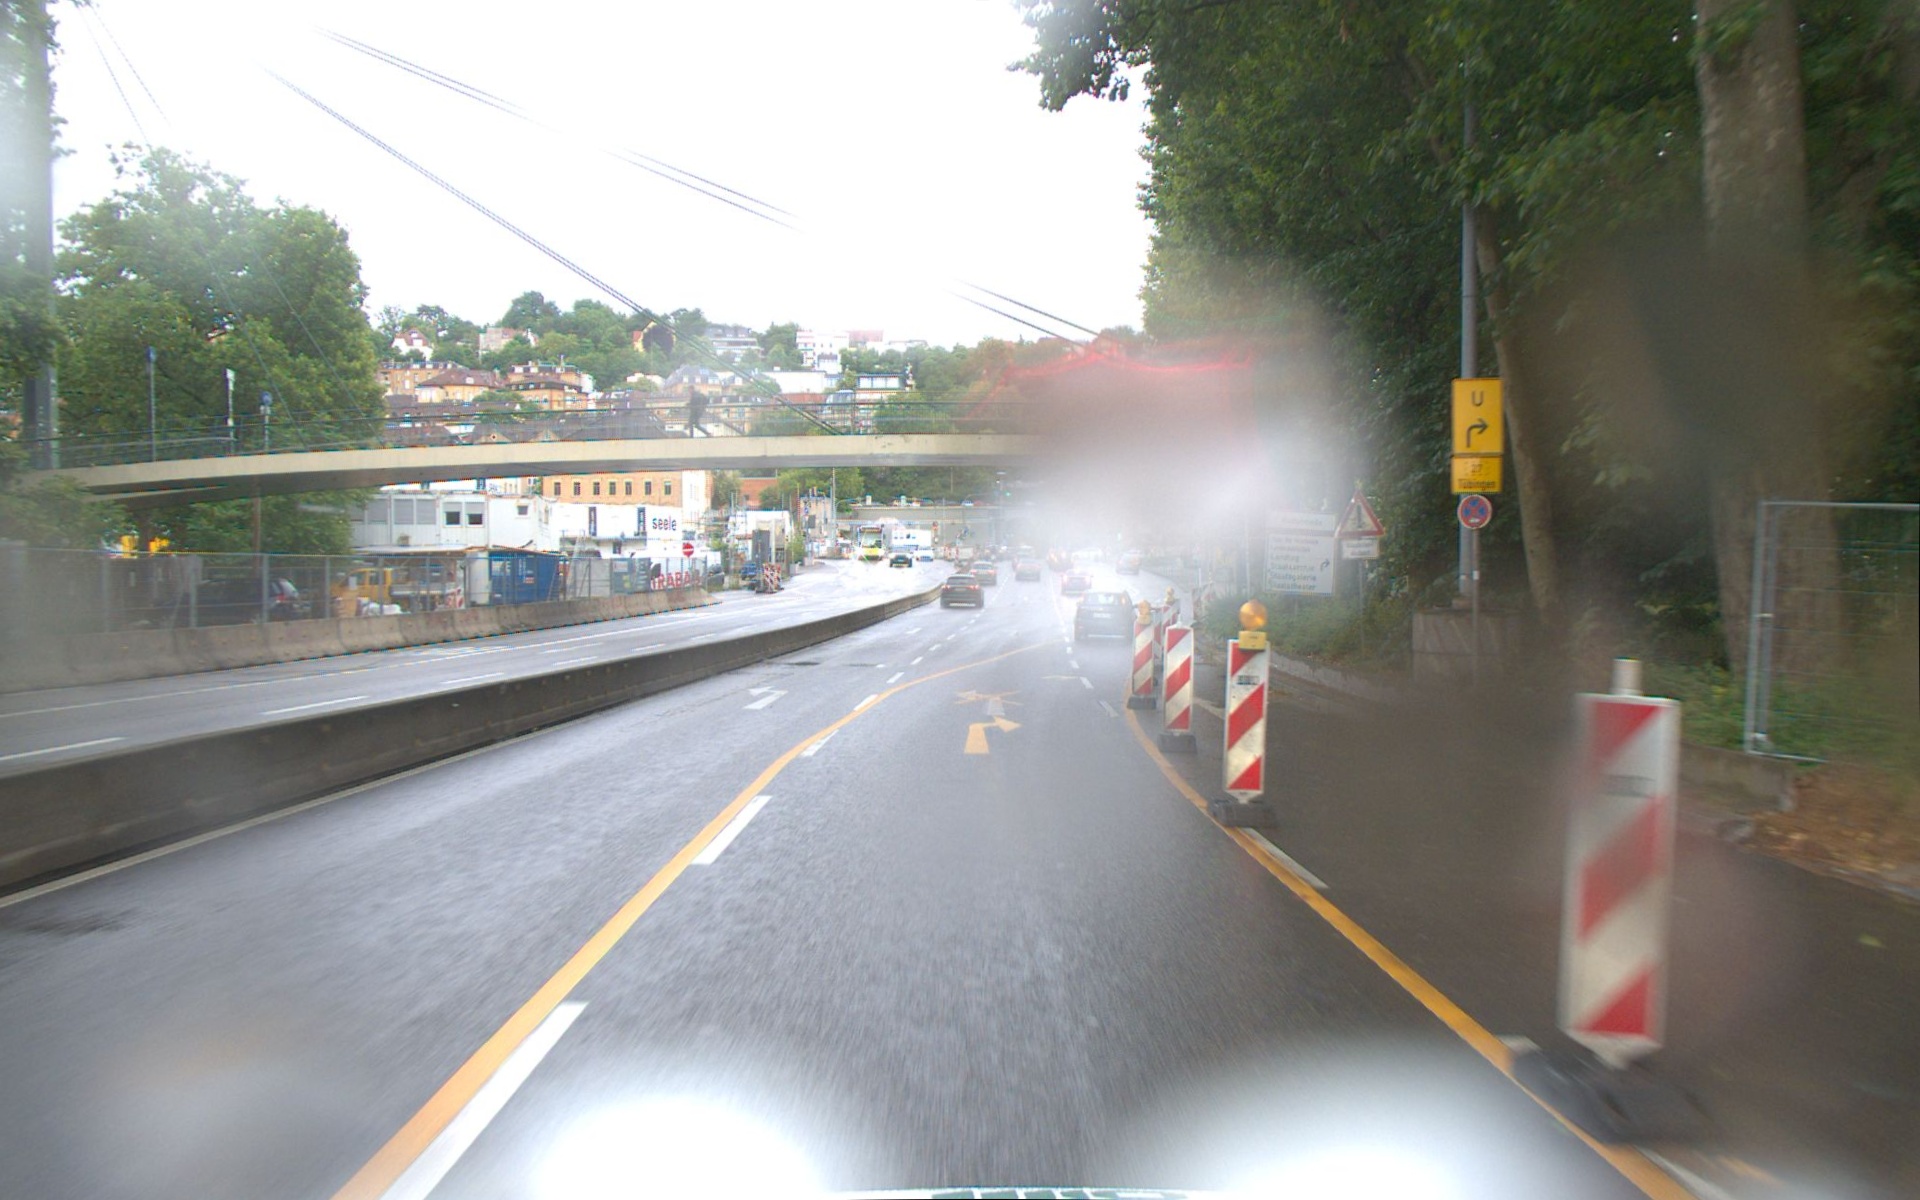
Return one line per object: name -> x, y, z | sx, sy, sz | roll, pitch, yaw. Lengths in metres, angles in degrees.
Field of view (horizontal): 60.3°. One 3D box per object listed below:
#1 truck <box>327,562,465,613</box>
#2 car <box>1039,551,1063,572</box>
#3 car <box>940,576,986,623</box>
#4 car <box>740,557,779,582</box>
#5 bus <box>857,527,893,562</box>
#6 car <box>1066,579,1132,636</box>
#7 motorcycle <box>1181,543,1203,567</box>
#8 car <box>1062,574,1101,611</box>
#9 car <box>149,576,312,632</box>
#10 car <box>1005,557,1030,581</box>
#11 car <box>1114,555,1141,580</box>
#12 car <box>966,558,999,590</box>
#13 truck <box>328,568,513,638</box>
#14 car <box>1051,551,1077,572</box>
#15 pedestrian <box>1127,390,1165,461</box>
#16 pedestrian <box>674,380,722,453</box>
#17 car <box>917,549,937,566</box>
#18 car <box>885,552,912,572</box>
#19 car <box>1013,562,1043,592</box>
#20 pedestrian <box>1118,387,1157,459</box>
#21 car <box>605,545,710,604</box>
truck -> -24.044, -0.548, 70.635 | 5.142, 2.049, 2.163 | -1, 1, -3
car -> 8.155, -3.414, 148.383 | 1.953, 1.728, 4.000 | -1, 0, 0
car -> 0.161, -0.015, 74.985 | 1.975, 2.049, 4.001 | -1, 0, 2
car -> -14.174, -2.187, 117.134 | 1.951, 1.650, 4.004 | 0, 2, 5
bus -> -8.141, -5.320, 159.845 | 2.748, 3.240, 8.810 | -1, 1, 2
car -> 3.996, 0.198, 47.616 | 1.774, 1.553, 4.002 | -1, 0, 4
motorcycle -> 20.984, -4.085, 149.710 | 1.757, 2.048, 3.816 | 0, 2, 5
car -> 7.127, -0.422, 97.385 | 2.061, 2.086, 4.001 | -1, 0, 2
car -> -23.242, 0.116, 52.844 | 4.339, 1.656, 1.956 | -1, 0, -7
car -> 4.832, -2.607, 140.029 | 1.953, 1.902, 4.000 | -1, 0, 0
car -> 14.064, -2.734, 139.162 | 1.952, 2.048, 4.001 | 0, 1, 1
car -> 1.516, -1.710, 110.730 | 1.951, 2.049, 4.002 | -1, 0, 4
truck -> -20.305, 0.099, 62.547 | 6.155, 2.495, 2.691 | -1, 0, -6
car -> 8.916, -3.297, 142.336 | 1.953, 1.728, 4.000 | -1, 0, 0
pedestrian -> 5.907, -5.527, 52.492 | 1.123, 2.096, 1.060 | -1, 0, 10
pedestrian -> -8.050, -5.615, 50.828 | 1.123, 2.096, 1.060 | -1, 0, 10
car -> -3.138, -4.085, 159.976 | 1.673, 1.515, 3.452 | -1, 0, 3
car -> -5.326, -3.279, 143.386 | 2.039, 1.659, 4.854 | -1, 1, 1
car -> 4.917, -1.669, 120.512 | 2.009, 2.049, 4.000 | -1, 0, 1
pedestrian -> 5.528, -5.504, 51.503 | 1.123, 2.096, 1.060 | -1, 0, 10
car -> -15.608, -1.285, 85.739 | 1.955, 2.925, 6.043 | -1, 0, 28
